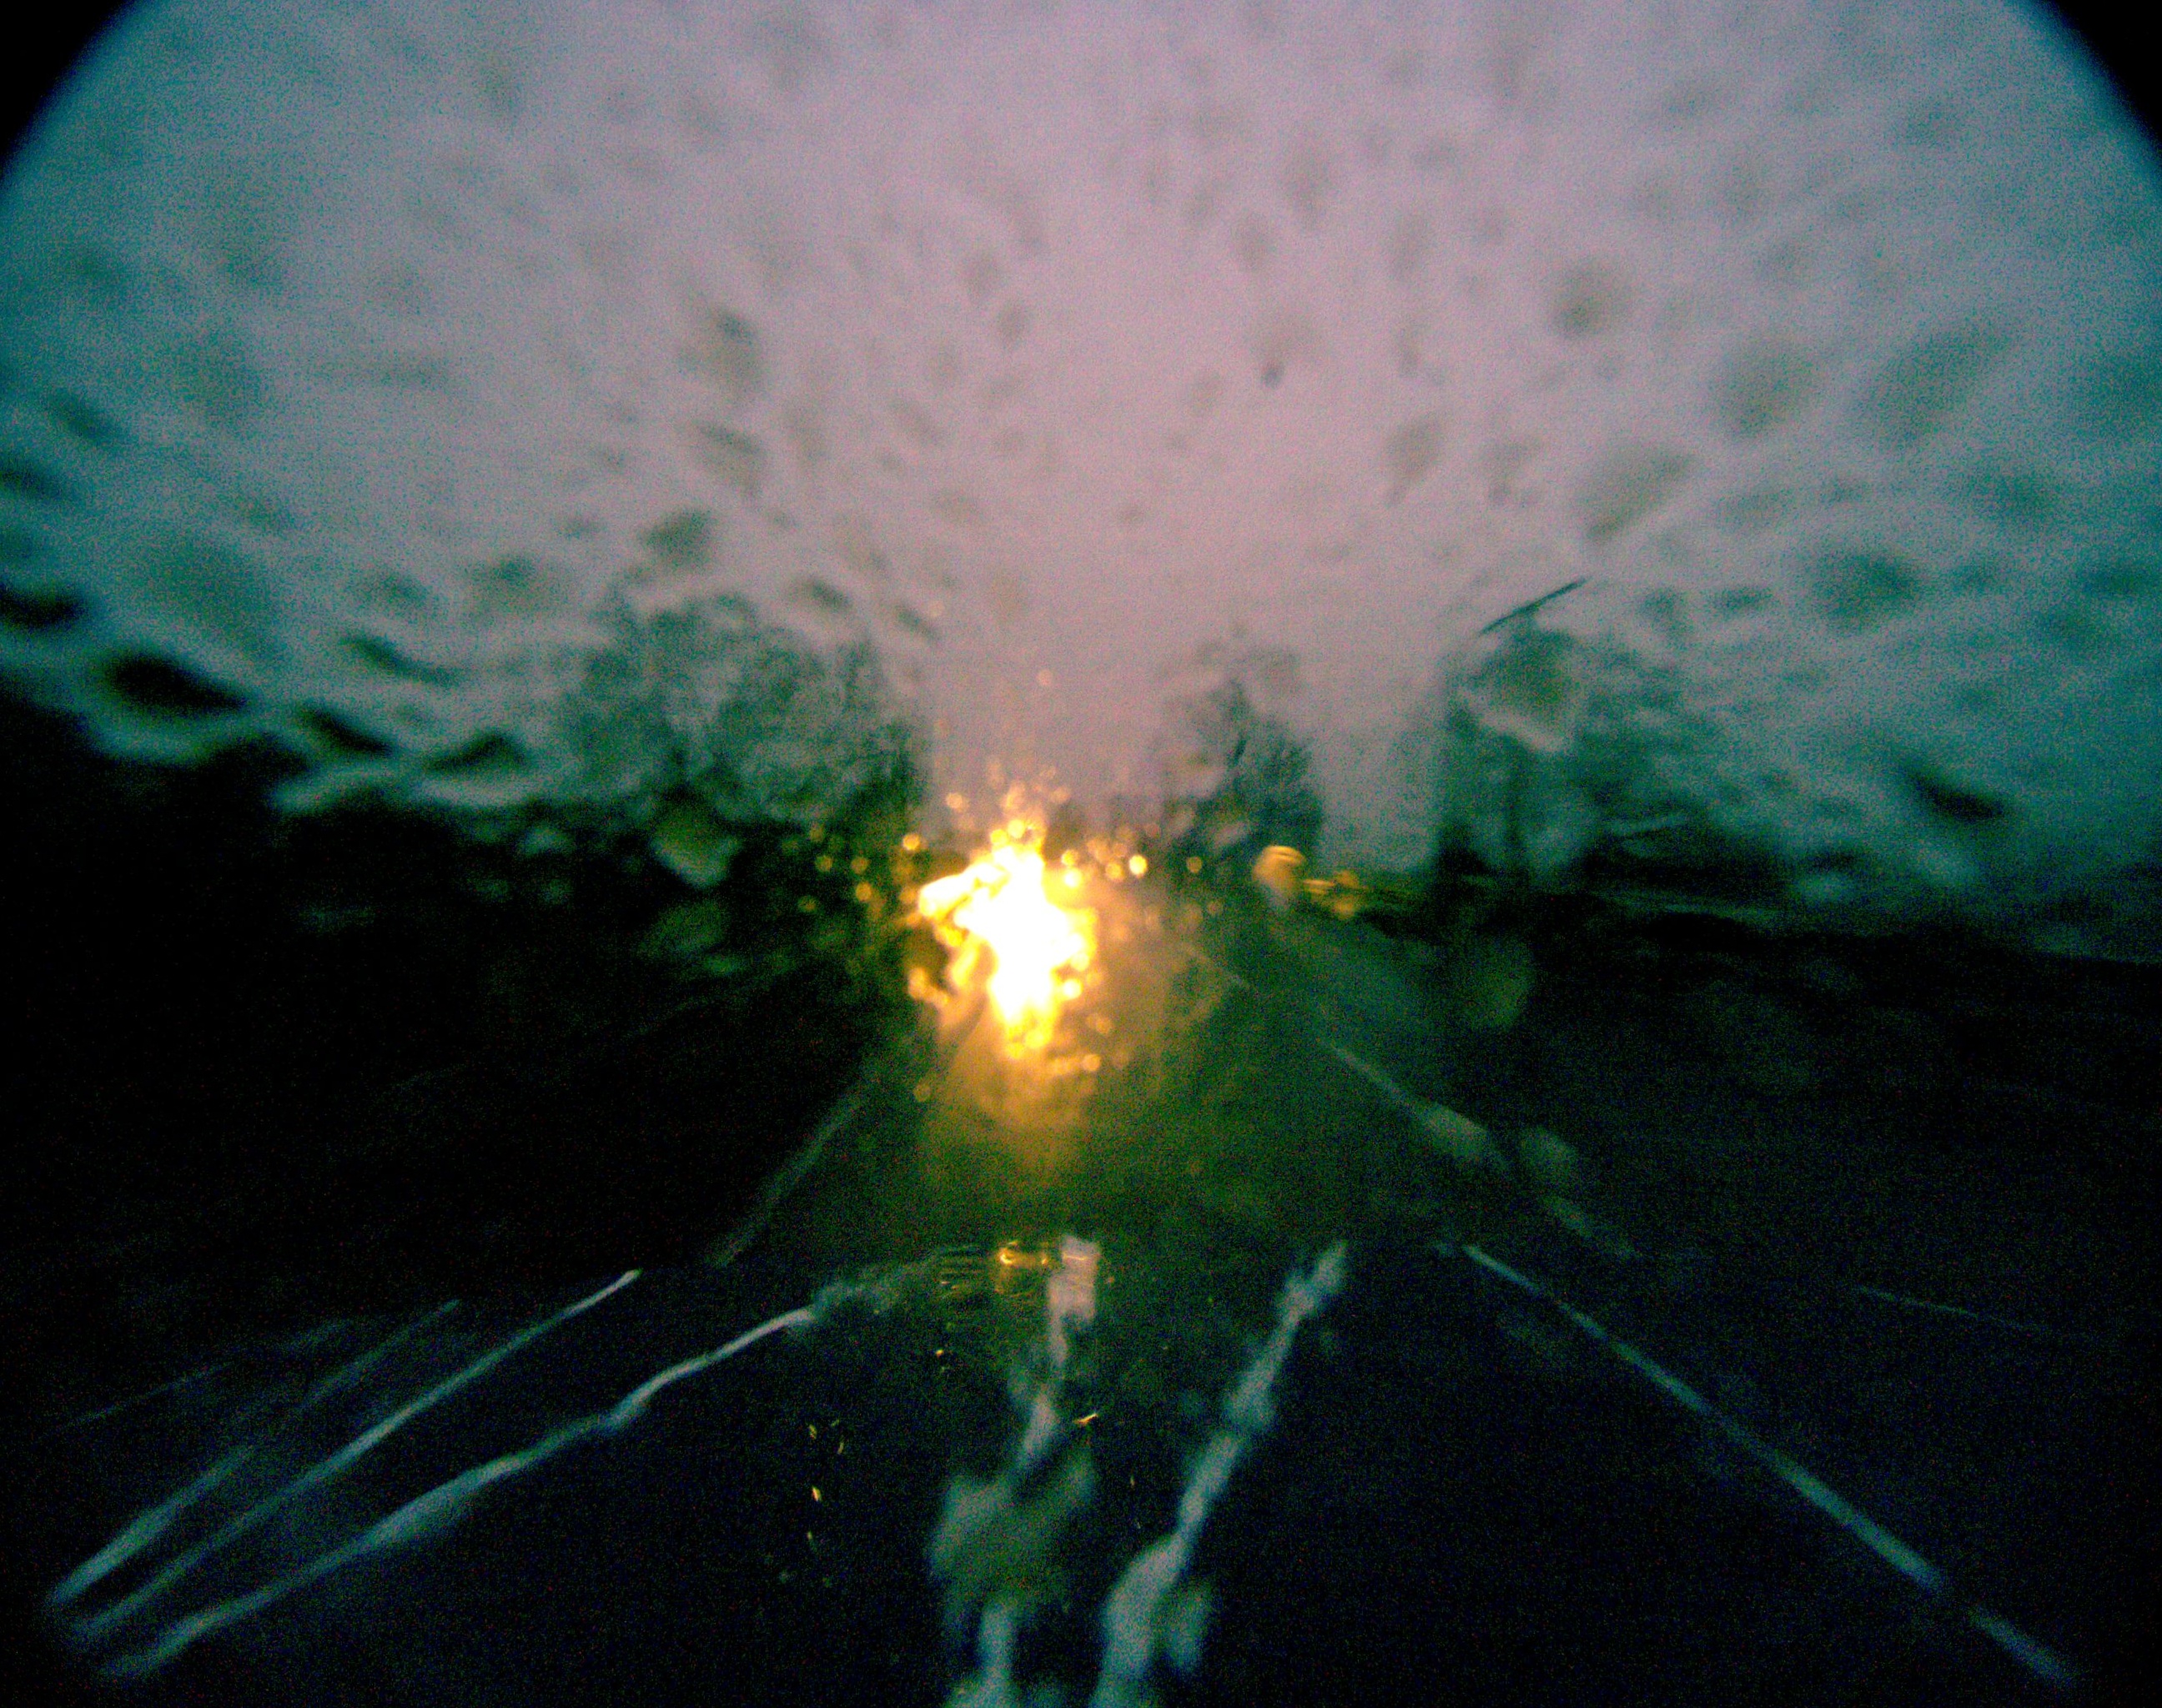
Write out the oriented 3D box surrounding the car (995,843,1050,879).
[{"bbox_3d":[-2.832,0.325,35.861,2.104,1.566,4.795,1,-1,-10],"label":"car"}]
